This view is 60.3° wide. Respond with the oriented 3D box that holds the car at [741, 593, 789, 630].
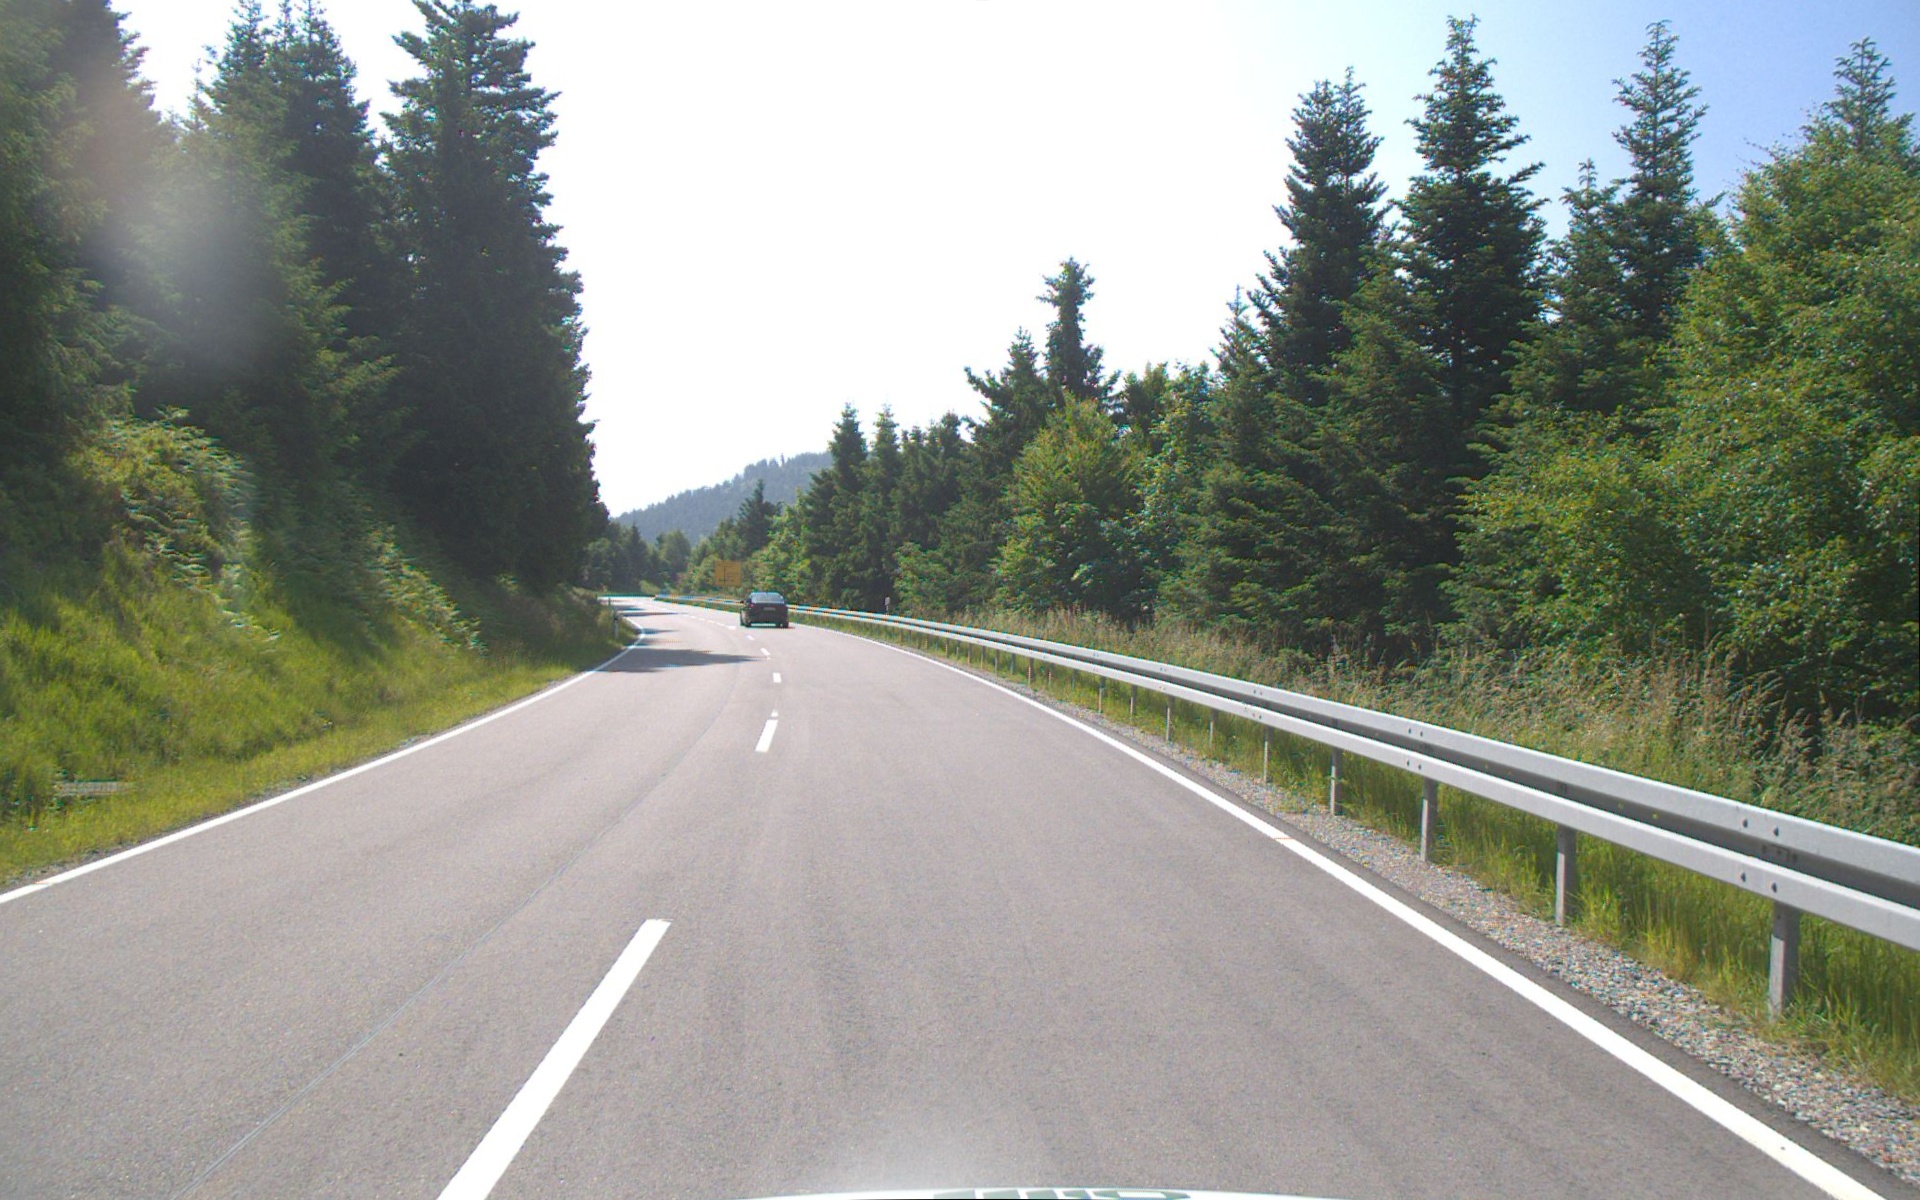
[{"bbox_3d":[-8.150,0.447,68.859,1.744,1.467,3.699,-1,0,-10],"label":"car"}]
